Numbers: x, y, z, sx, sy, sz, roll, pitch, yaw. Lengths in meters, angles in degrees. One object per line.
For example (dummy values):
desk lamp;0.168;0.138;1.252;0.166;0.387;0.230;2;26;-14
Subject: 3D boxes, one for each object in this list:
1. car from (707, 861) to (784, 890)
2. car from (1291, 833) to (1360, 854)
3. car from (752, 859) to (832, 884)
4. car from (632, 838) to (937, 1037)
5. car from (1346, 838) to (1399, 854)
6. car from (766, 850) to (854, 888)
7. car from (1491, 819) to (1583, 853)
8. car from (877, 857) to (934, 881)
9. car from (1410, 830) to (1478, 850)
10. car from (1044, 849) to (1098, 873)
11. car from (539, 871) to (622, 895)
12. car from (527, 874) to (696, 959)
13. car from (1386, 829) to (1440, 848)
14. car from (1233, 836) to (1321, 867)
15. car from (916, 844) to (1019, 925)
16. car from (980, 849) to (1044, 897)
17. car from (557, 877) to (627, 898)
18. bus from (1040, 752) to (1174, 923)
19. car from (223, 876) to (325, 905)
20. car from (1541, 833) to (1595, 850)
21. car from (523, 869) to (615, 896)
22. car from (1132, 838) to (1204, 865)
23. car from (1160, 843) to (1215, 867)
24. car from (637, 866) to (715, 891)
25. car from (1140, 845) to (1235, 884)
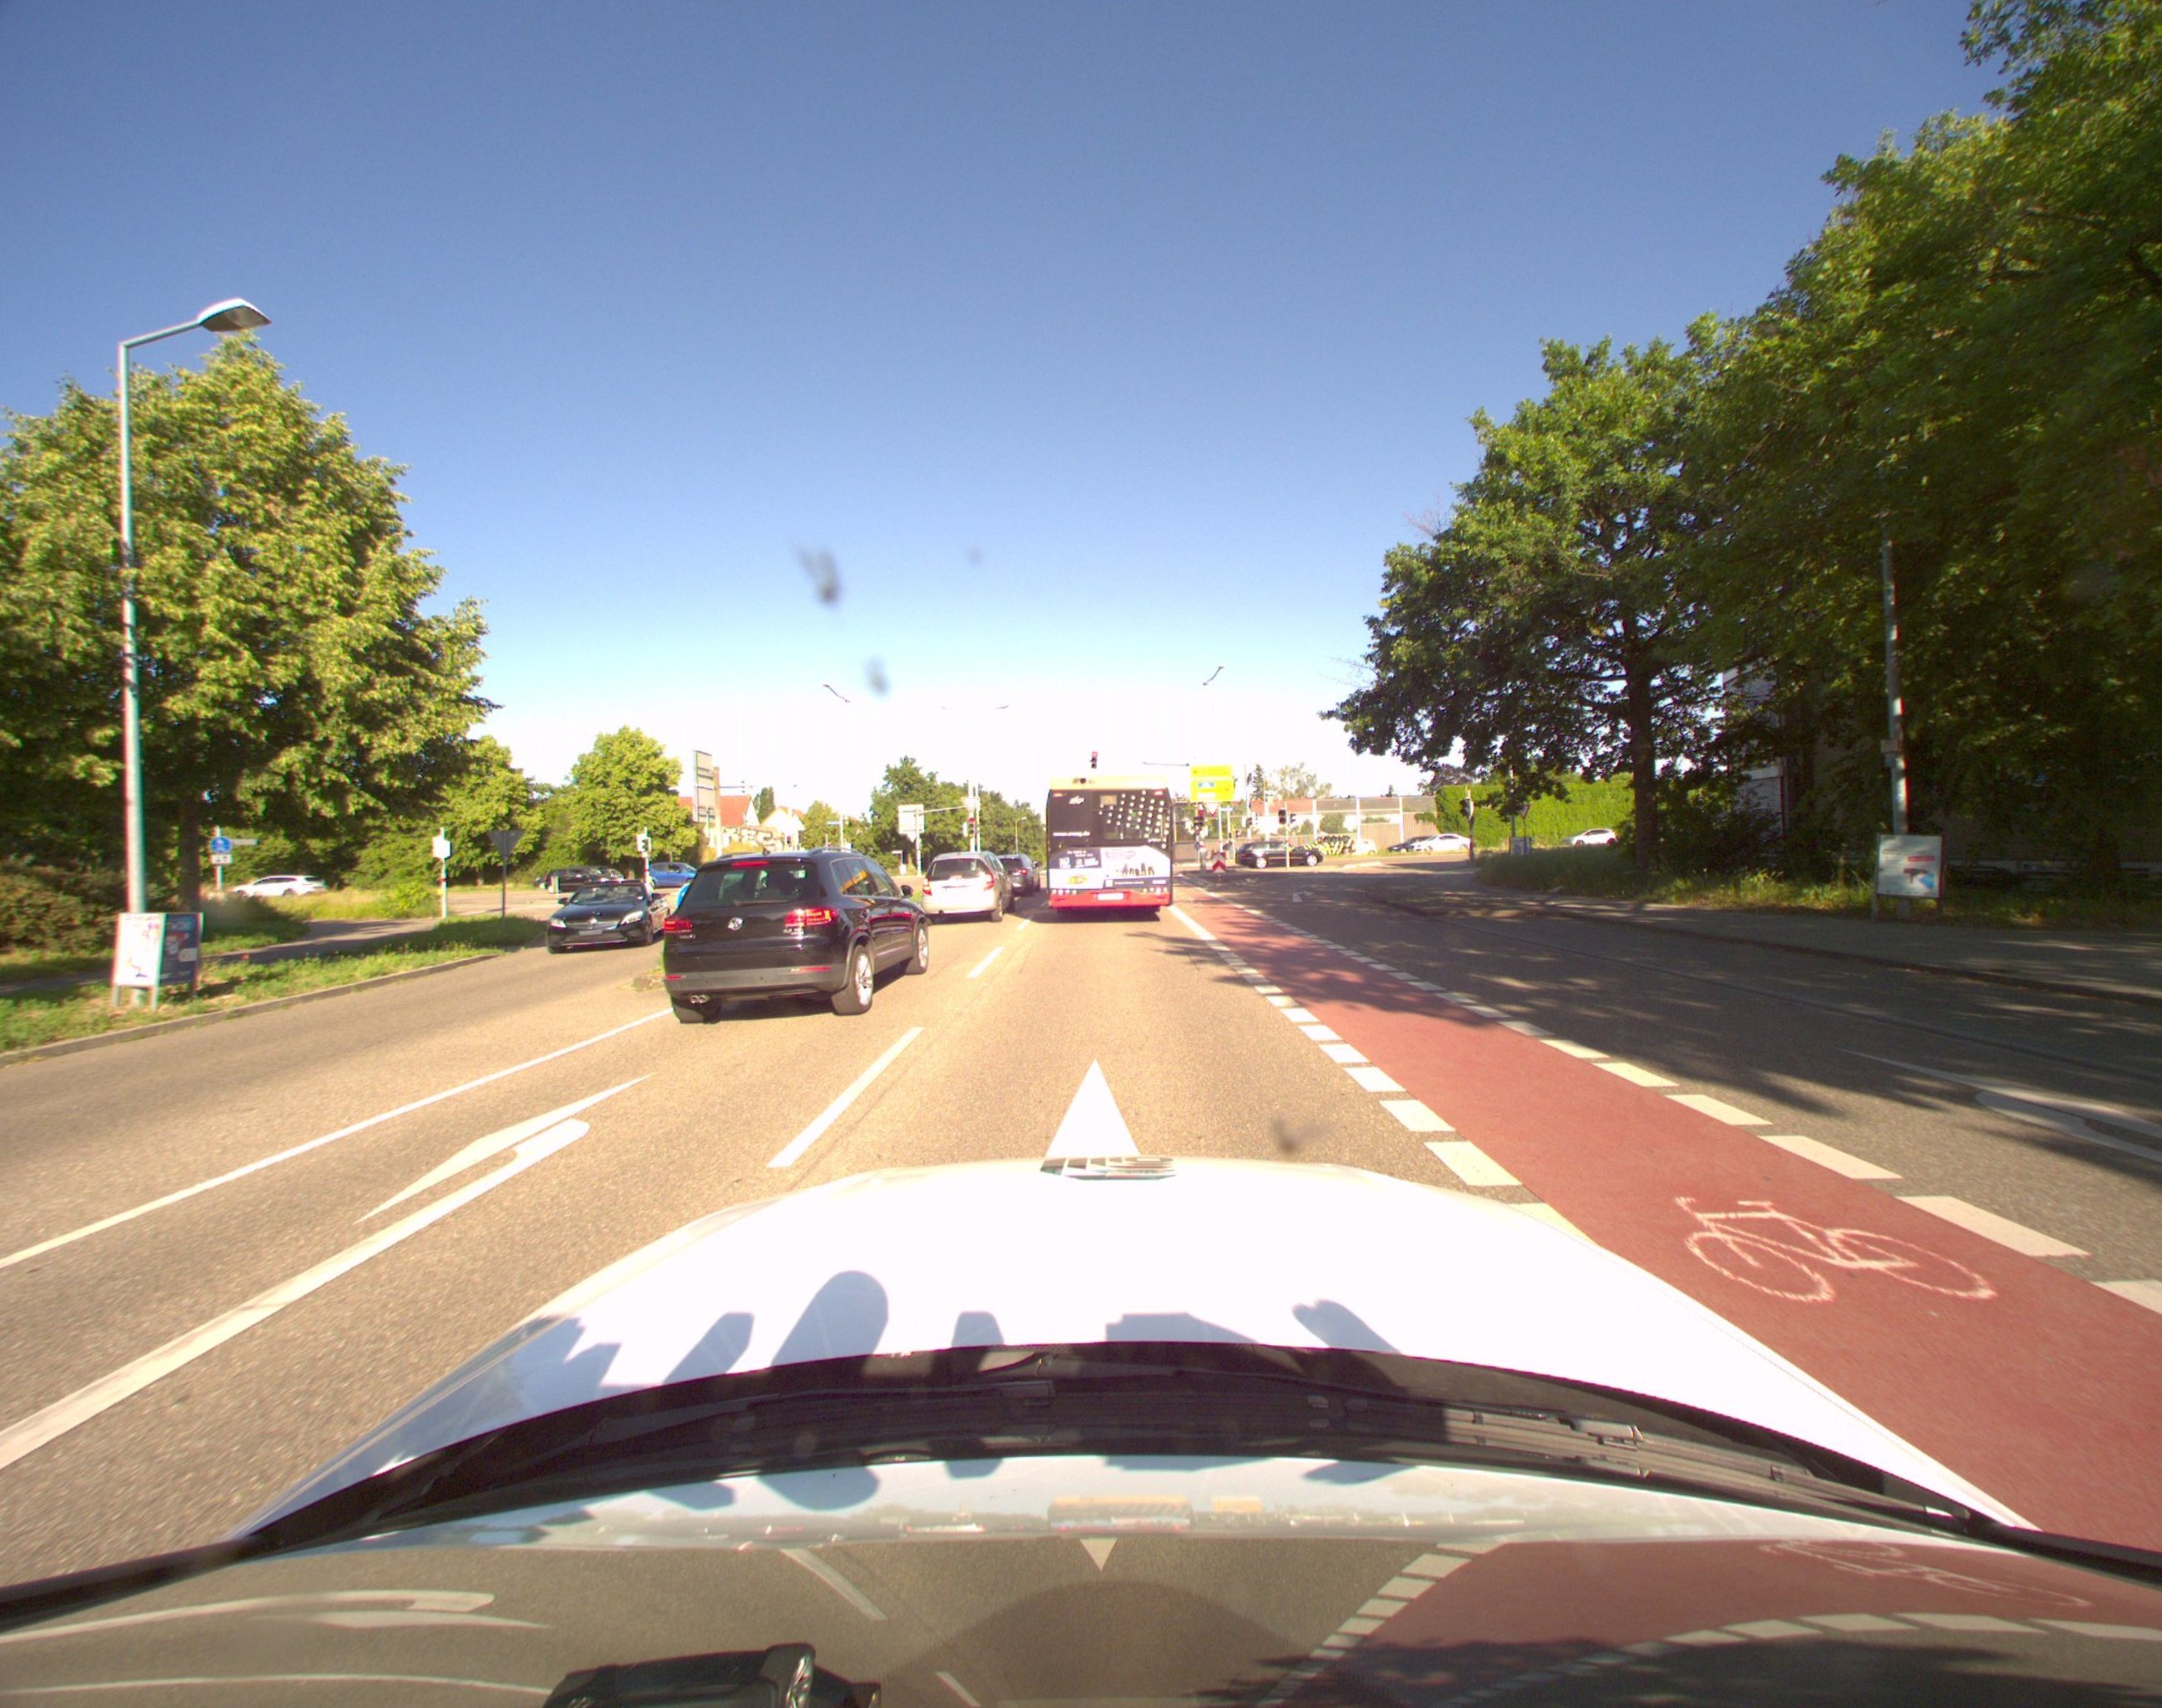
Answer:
car;-18.967;1.204;46.107;3.664;1.485;1.591;-2;-1;-5
car;16.359;-0.717;54.626;4.148;1.302;1.574;-1;-1;-2
car;-19.597;1.183;55.418;4.690;1.540;1.999;-2;0;-2
car;-2.996;0.762;9.259;1.814;1.673;4.004;-3;-1;2
car;23.581;-0.629;65.882;3.746;1.136;1.574;-2;0;-2
car;-14.260;0.801;42.951;4.103;1.801;1.456;-2;-1;-4
car;18.220;-0.713;32.523;3.411;1.296;1.449;-1;-1;-24
car;-13.310;1.126;61.915;3.979;1.612;1.693;-2;0;-4
car;26.206;-0.980;58.874;4.277;1.302;1.574;-2;0;-2
car;-0.805;0.535;61.969;3.979;1.612;1.693;-2;0;-4
car;-29.522;1.683;48.111;3.842;1.313;1.504;-1;-1;-7
car;-10.176;1.257;18.092;1.997;1.403;4.565;-5;1;-14
car;25.363;-1.191;62.230;3.512;1.302;1.574;-2;0;-2
car;10.783;-0.142;44.972;4.451;1.440;1.681;-3;0;-3
car;-2.579;0.630;19.457;1.747;1.620;4.035;-2;1;1
car;-2.321;0.632;28.249;1.581;1.485;3.687;-2;-1;5
car;-34.352;2.325;57.225;3.838;1.340;1.680;-1;-1;-4
bus;0.727;-0.363;22.131;2.586;3.334;11.989;-1;0;2
car;-51.212;2.315;51.752;4.384;1.683;1.706;-1;-1;-10
car;39.418;-0.976;65.975;3.571;1.265;1.353;-2;0;0
car;-33.922;1.879;54.054;4.693;1.540;1.997;-2;0;-4
car;5.339;-0.159;50.484;4.211;1.562;1.761;-1;-1;-3
car;8.175;0.073;62.693;3.979;1.612;1.693;-2;0;-4
car;-24.255;1.456;48.870;3.842;1.385;1.679;-1;-1;-7
car;4.124;0.387;31.433;3.500;1.302;1.580;-2;1;10
